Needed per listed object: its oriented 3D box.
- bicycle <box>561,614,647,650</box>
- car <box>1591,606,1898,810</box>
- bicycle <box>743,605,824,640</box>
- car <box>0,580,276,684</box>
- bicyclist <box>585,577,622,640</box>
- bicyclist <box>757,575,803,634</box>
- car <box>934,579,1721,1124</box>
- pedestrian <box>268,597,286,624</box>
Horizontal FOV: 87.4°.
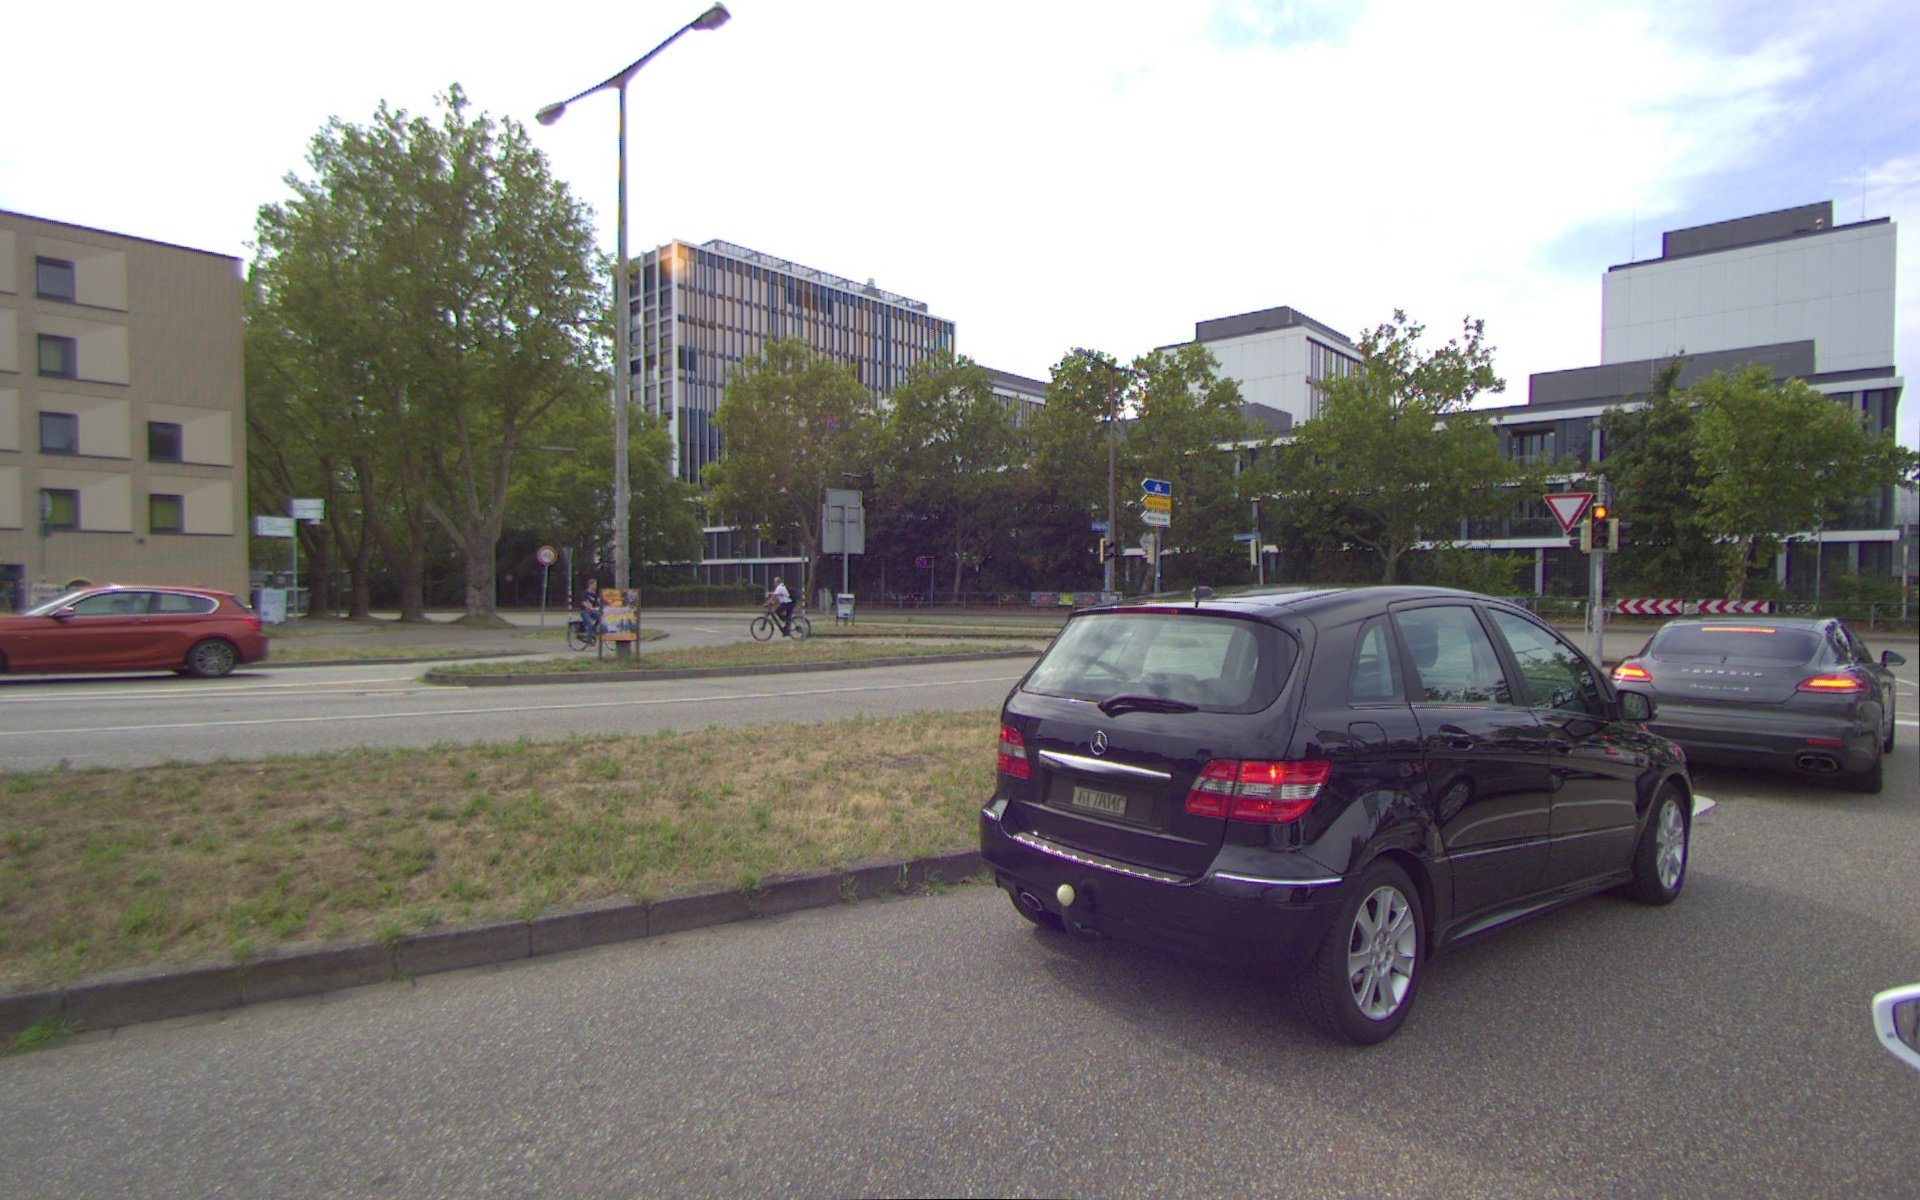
[{"bbox_3d":[-9.321,0.828,26.361,2.087,0.921,0.738,1,0,-21],"label":"bicycle"},{"bbox_3d":[7.727,0.810,9.690,1.800,1.433,4.746,2,1,44],"label":"car"},{"bbox_3d":[-5.218,0.652,29.740,2.190,0.965,0.812,1,0,13],"label":"bicycle"},{"bbox_3d":[-13.004,0.437,15.037,1.919,1.399,4.198,1,0,37],"label":"car"},{"bbox_3d":[-9.347,0.221,26.342,0.907,1.636,0.738,1,0,-21],"label":"bicyclist"},{"bbox_3d":[-5.336,0.134,29.763,1.093,1.719,0.813,1,0,14],"label":"bicyclist"},{"bbox_3d":[1.989,0.714,4.880,4.000,1.596,1.743,-1,2,-38],"label":"car"},{"bbox_3d":[-28.735,0.438,42.272,0.494,1.140,0.461,1,0,-17],"label":"pedestrian"}]
